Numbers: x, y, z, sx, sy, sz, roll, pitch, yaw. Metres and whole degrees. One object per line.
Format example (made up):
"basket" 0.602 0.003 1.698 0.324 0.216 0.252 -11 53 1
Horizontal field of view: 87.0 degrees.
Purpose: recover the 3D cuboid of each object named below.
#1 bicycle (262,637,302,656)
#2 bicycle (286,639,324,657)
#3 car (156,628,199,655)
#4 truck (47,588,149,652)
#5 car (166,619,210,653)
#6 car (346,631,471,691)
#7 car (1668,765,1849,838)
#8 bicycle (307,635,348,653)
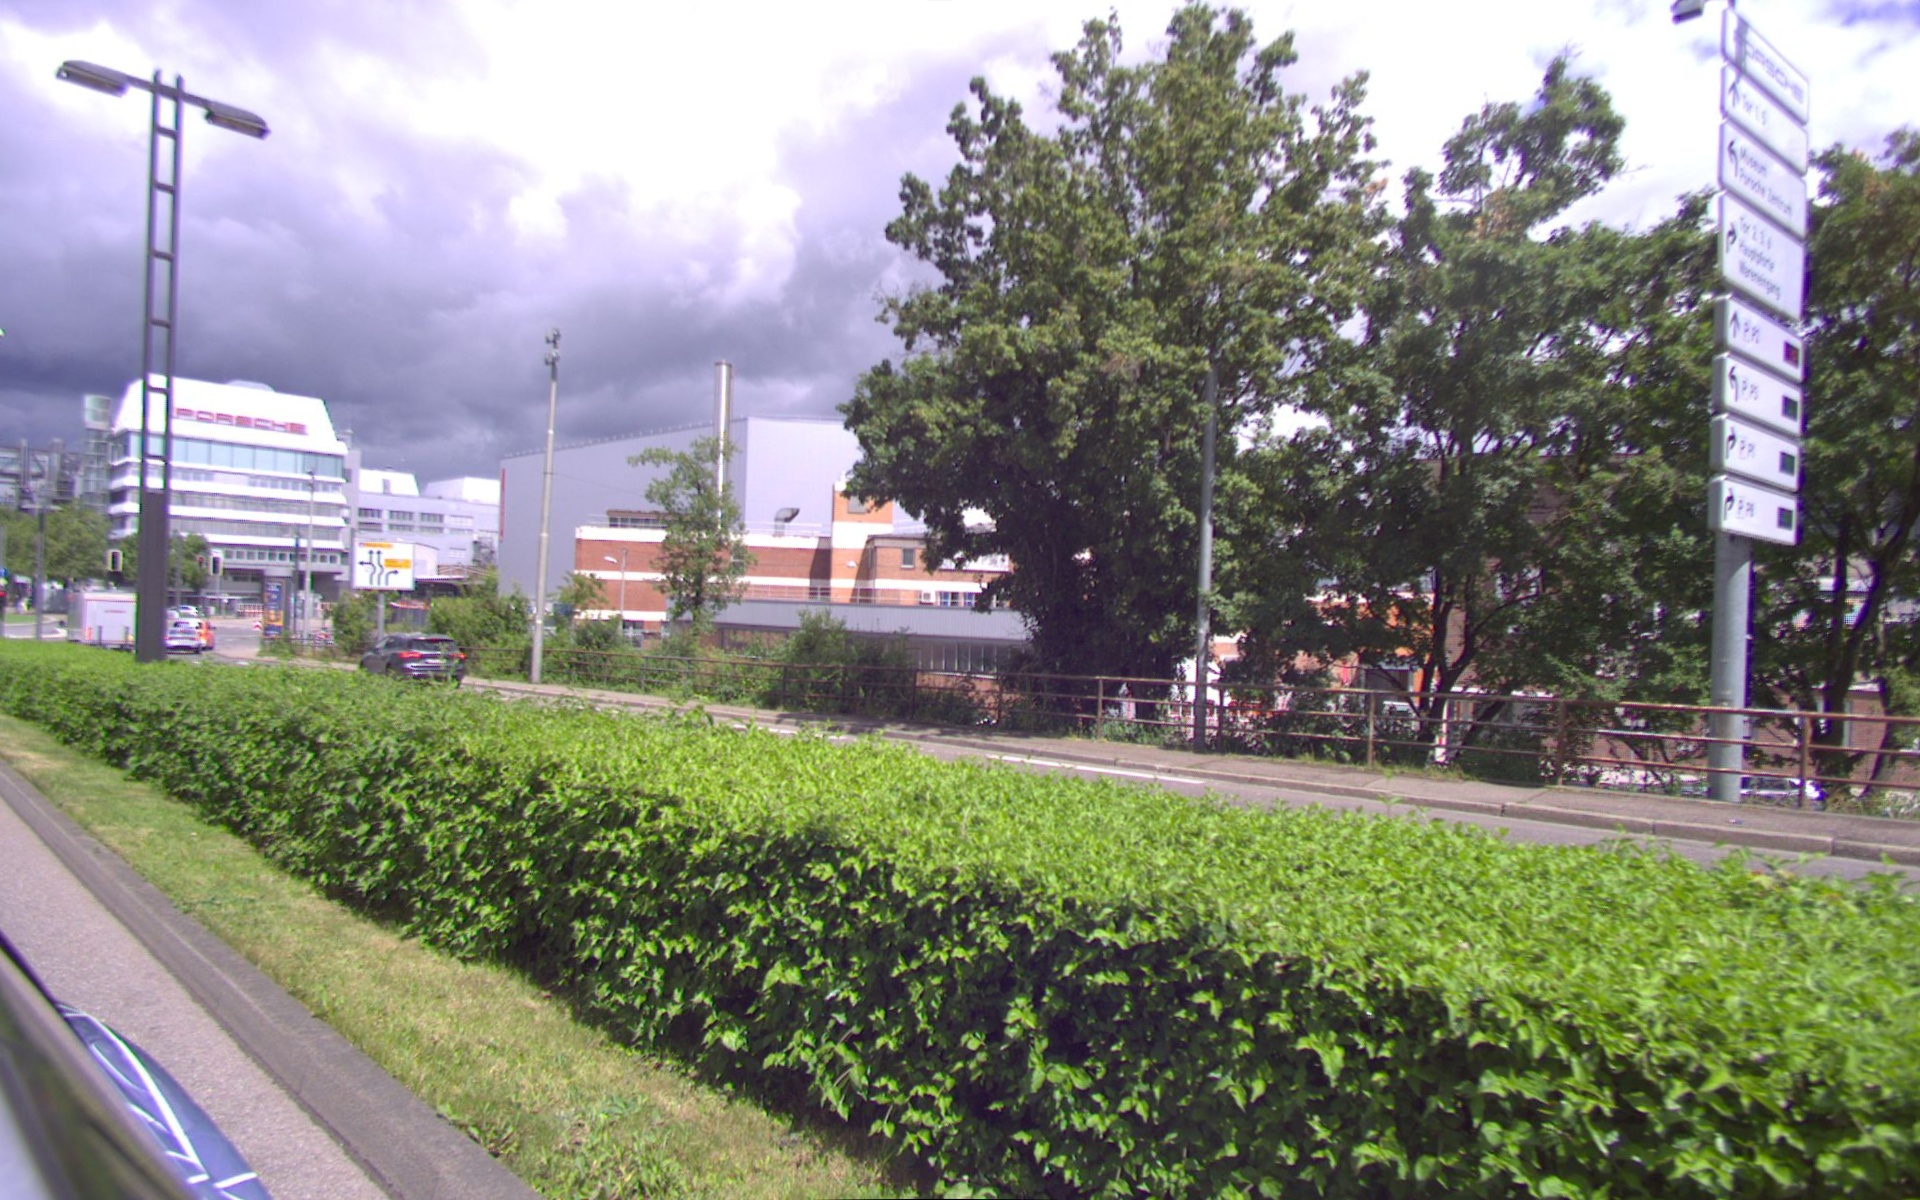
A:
"bicycle" -42.680 2.919 63.712 2.012 1.176 0.622 2 -2 -40
"bicycle" -38.552 2.818 59.607 0.616 0.996 1.939 -1 -2 17
"car" -43.751 2.305 56.642 1.772 1.433 4.502 3 -3 -37
"truck" -43.971 1.126 51.504 9.375 2.879 2.824 -3 -4 43
"car" -47.496 2.194 62.315 1.967 1.973 4.639 1 -1 -36
"car" -15.416 1.647 28.175 4.563 1.519 1.819 -1 -3 45
"car" 22.769 5.718 29.028 3.741 1.539 1.705 -1 -3 26
"bicycle" -36.802 2.560 58.933 0.619 0.996 1.928 -2 -3 32
